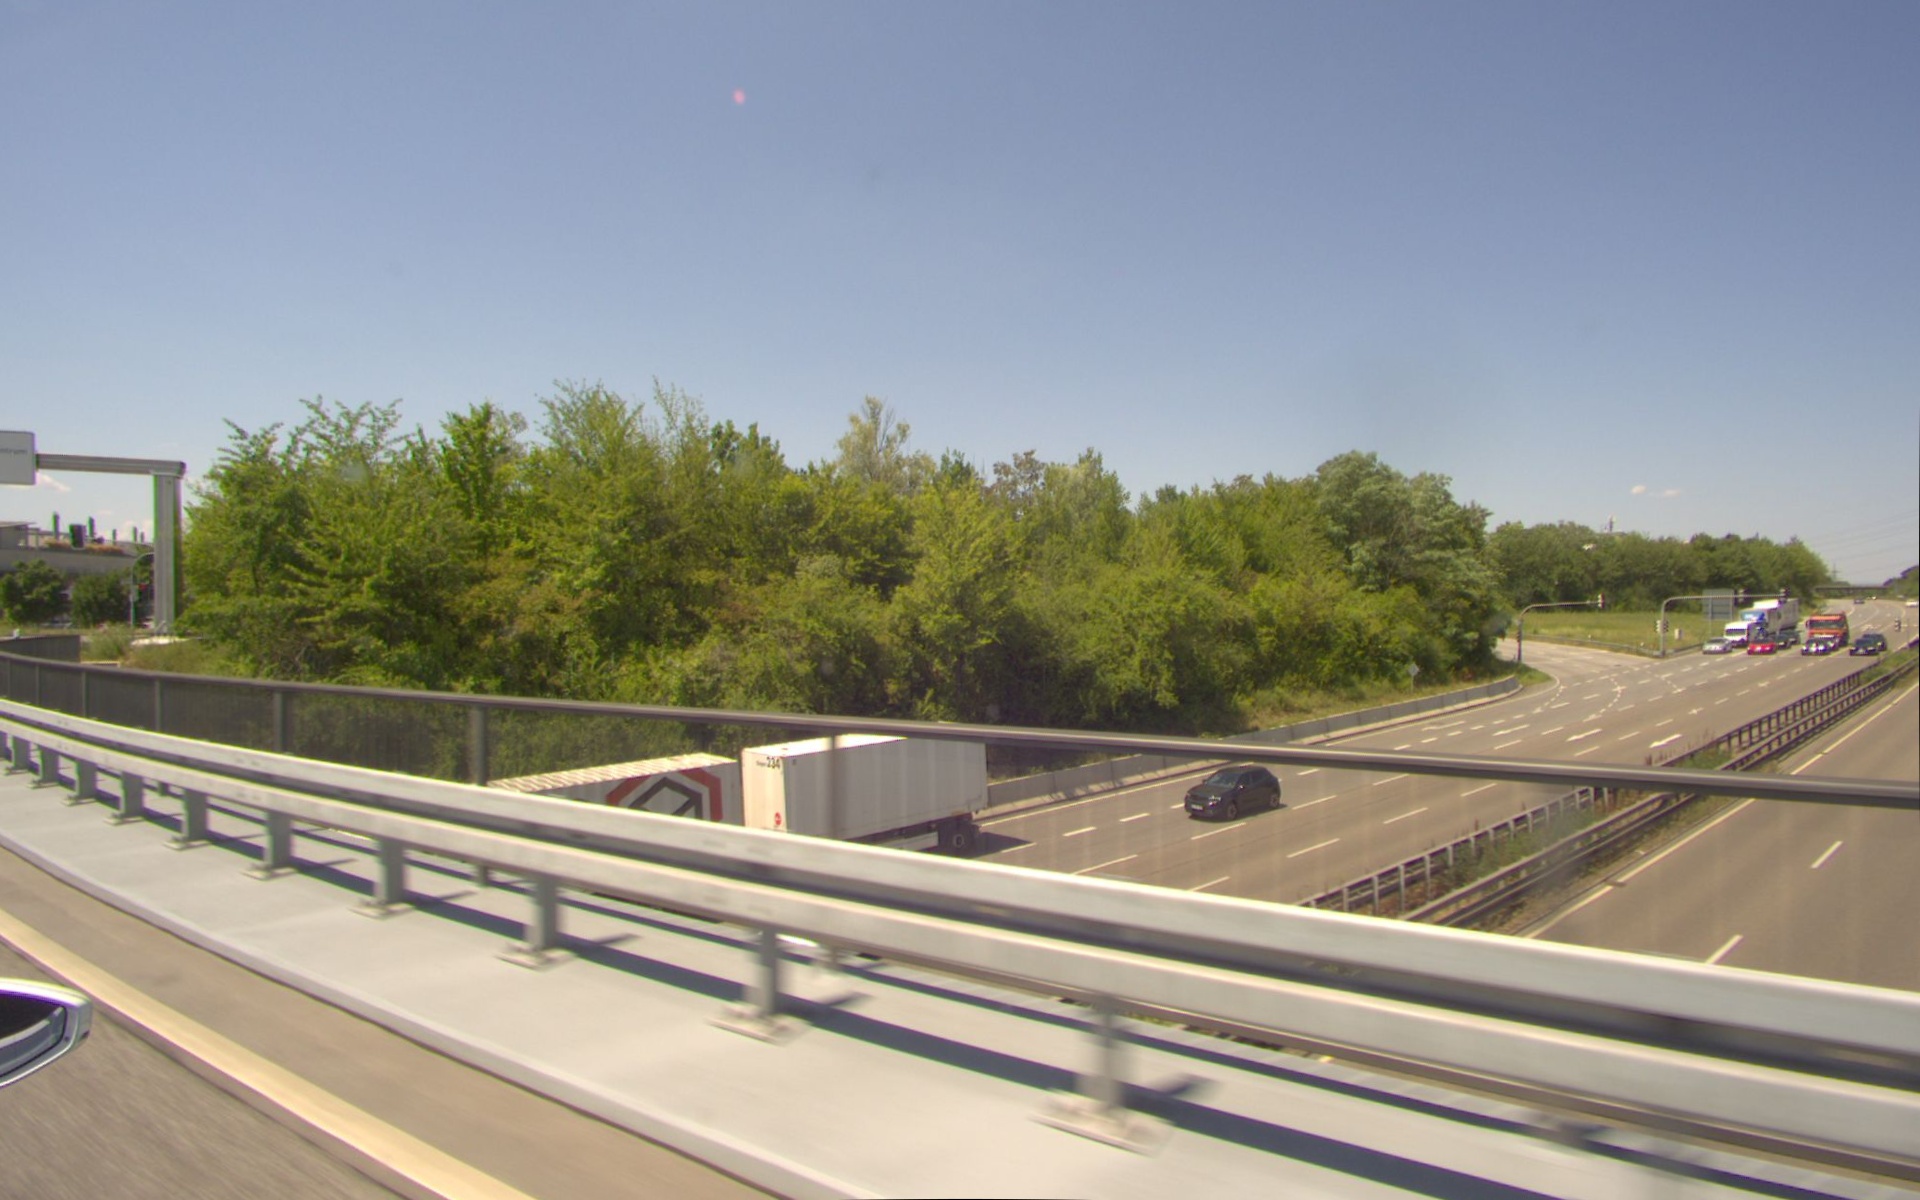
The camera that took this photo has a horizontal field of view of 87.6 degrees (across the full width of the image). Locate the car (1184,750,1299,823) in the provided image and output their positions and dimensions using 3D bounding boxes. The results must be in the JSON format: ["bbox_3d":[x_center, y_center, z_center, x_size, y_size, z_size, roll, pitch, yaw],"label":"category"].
[{"bbox_3d":[10.263,6.670,36.330,4.478,1.728,1.895,-3,1,-42],"label":"car"}]

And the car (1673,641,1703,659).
[{"bbox_3d":[80.925,5.540,111.292,3.958,1.945,1.982,0,-1,-42],"label":"car"}]

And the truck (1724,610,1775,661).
[{"bbox_3d":[83.688,3.634,106.060,12.284,5.075,2.553,0,-1,-44],"label":"truck"}]

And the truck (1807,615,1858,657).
[{"bbox_3d":[87.387,3.547,100.232,8.786,4.063,2.690,0,-1,-41],"label":"truck"}]

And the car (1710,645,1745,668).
[{"bbox_3d":[74.437,5.423,97.068,3.958,2.040,1.982,0,-1,-42],"label":"car"}]

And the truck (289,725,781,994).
[{"bbox_3d":[-9.989,5.830,24.865,10.886,4.404,2.877,0,-1,-39],"label":"truck"}]

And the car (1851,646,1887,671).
[{"bbox_3d":[80.690,5.199,88.898,3.958,2.040,1.982,0,-1,-42],"label":"car"}]

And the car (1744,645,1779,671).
[{"bbox_3d":[75.762,5.437,94.658,3.958,2.238,1.966,0,-1,-42],"label":"car"}]

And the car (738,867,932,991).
[{"bbox_3d":[-2.790,7.379,22.811,4.097,1.573,1.780,0,-1,-39],"label":"car"}]

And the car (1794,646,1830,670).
[{"bbox_3d":[77.824,5.270,91.445,3.958,2.040,1.982,0,-1,-42],"label":"car"}]

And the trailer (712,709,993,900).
[{"bbox_3d":[-3.073,5.896,30.581,8.297,4.404,2.877,0,-1,-39],"label":"trailer"}]

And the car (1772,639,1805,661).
[{"bbox_3d":[81.993,4.961,99.085,3.958,2.040,1.982,0,-1,-42],"label":"car"}]
